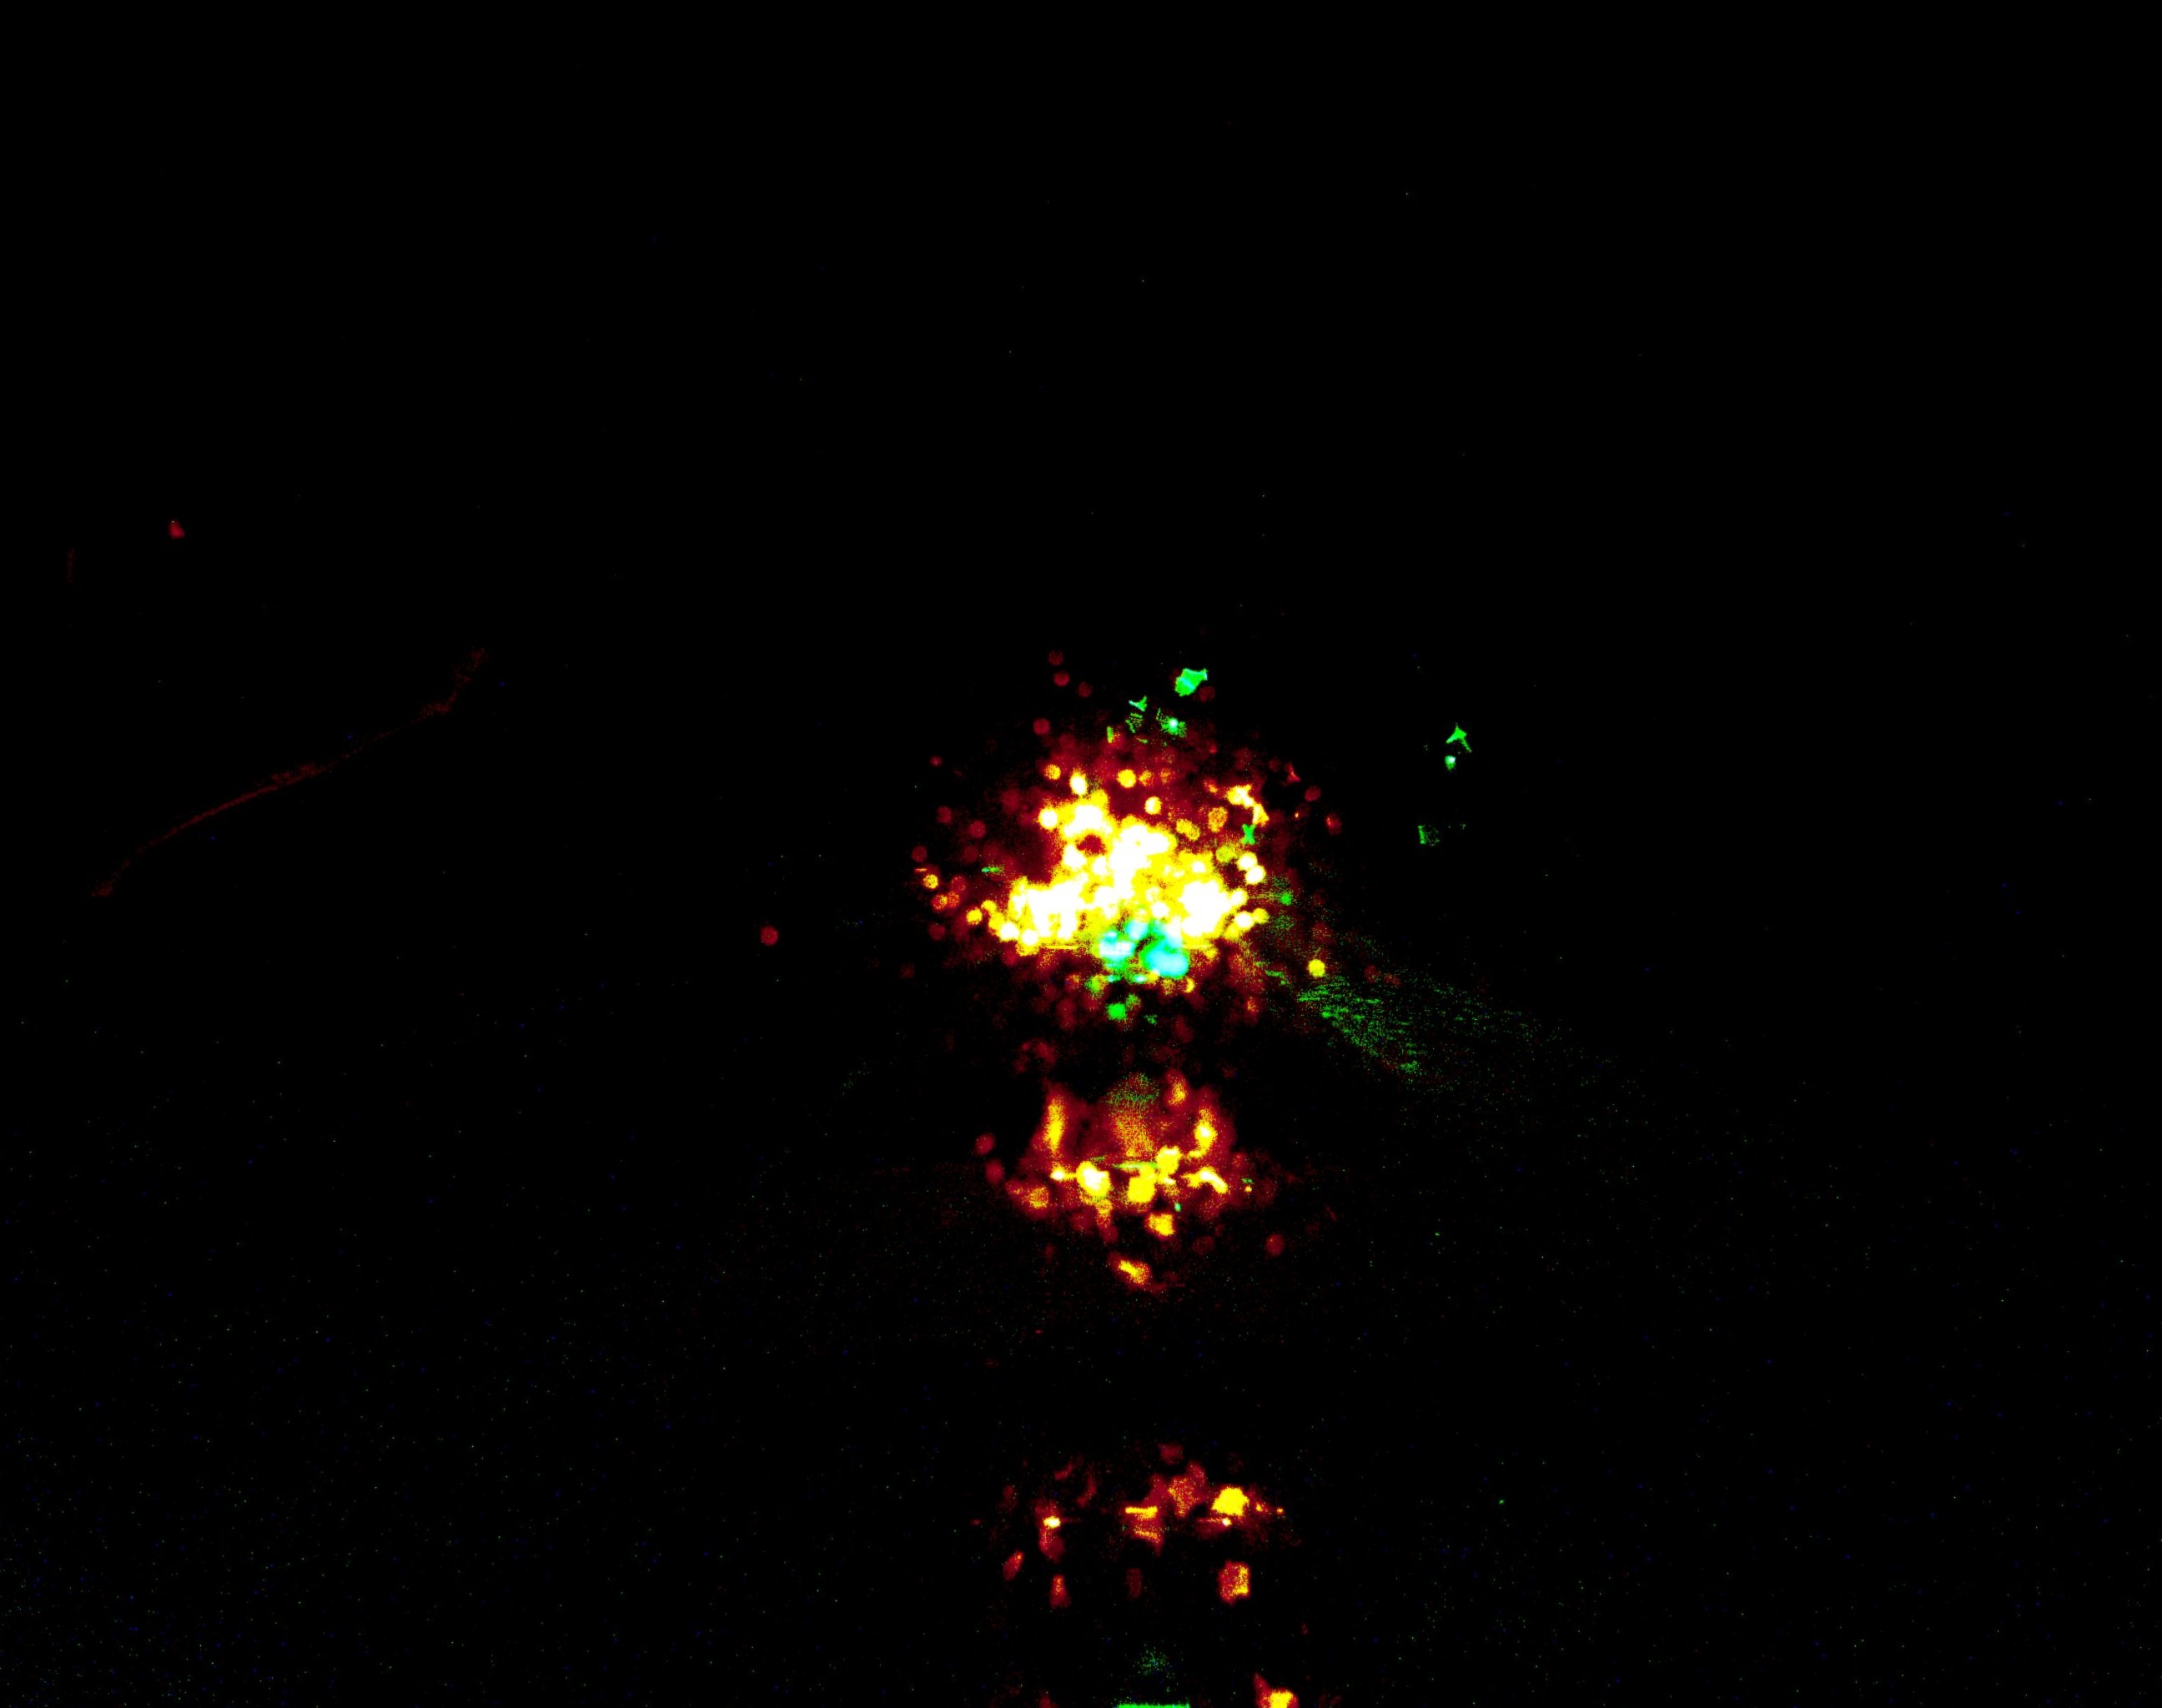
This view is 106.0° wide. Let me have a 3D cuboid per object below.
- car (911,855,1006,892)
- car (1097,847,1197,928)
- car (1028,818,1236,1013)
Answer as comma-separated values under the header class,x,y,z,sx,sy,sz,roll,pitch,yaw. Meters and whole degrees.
class,x,y,z,sx,sy,sz,roll,pitch,yaw
car,-6.726,1.106,44.843,4.655,1.793,2.006,-3,-2,11
car,1.385,0.590,16.627,1.735,1.415,4.007,-2,0,6
car,0.570,0.521,9.132,1.783,1.681,3.908,-1,1,4
